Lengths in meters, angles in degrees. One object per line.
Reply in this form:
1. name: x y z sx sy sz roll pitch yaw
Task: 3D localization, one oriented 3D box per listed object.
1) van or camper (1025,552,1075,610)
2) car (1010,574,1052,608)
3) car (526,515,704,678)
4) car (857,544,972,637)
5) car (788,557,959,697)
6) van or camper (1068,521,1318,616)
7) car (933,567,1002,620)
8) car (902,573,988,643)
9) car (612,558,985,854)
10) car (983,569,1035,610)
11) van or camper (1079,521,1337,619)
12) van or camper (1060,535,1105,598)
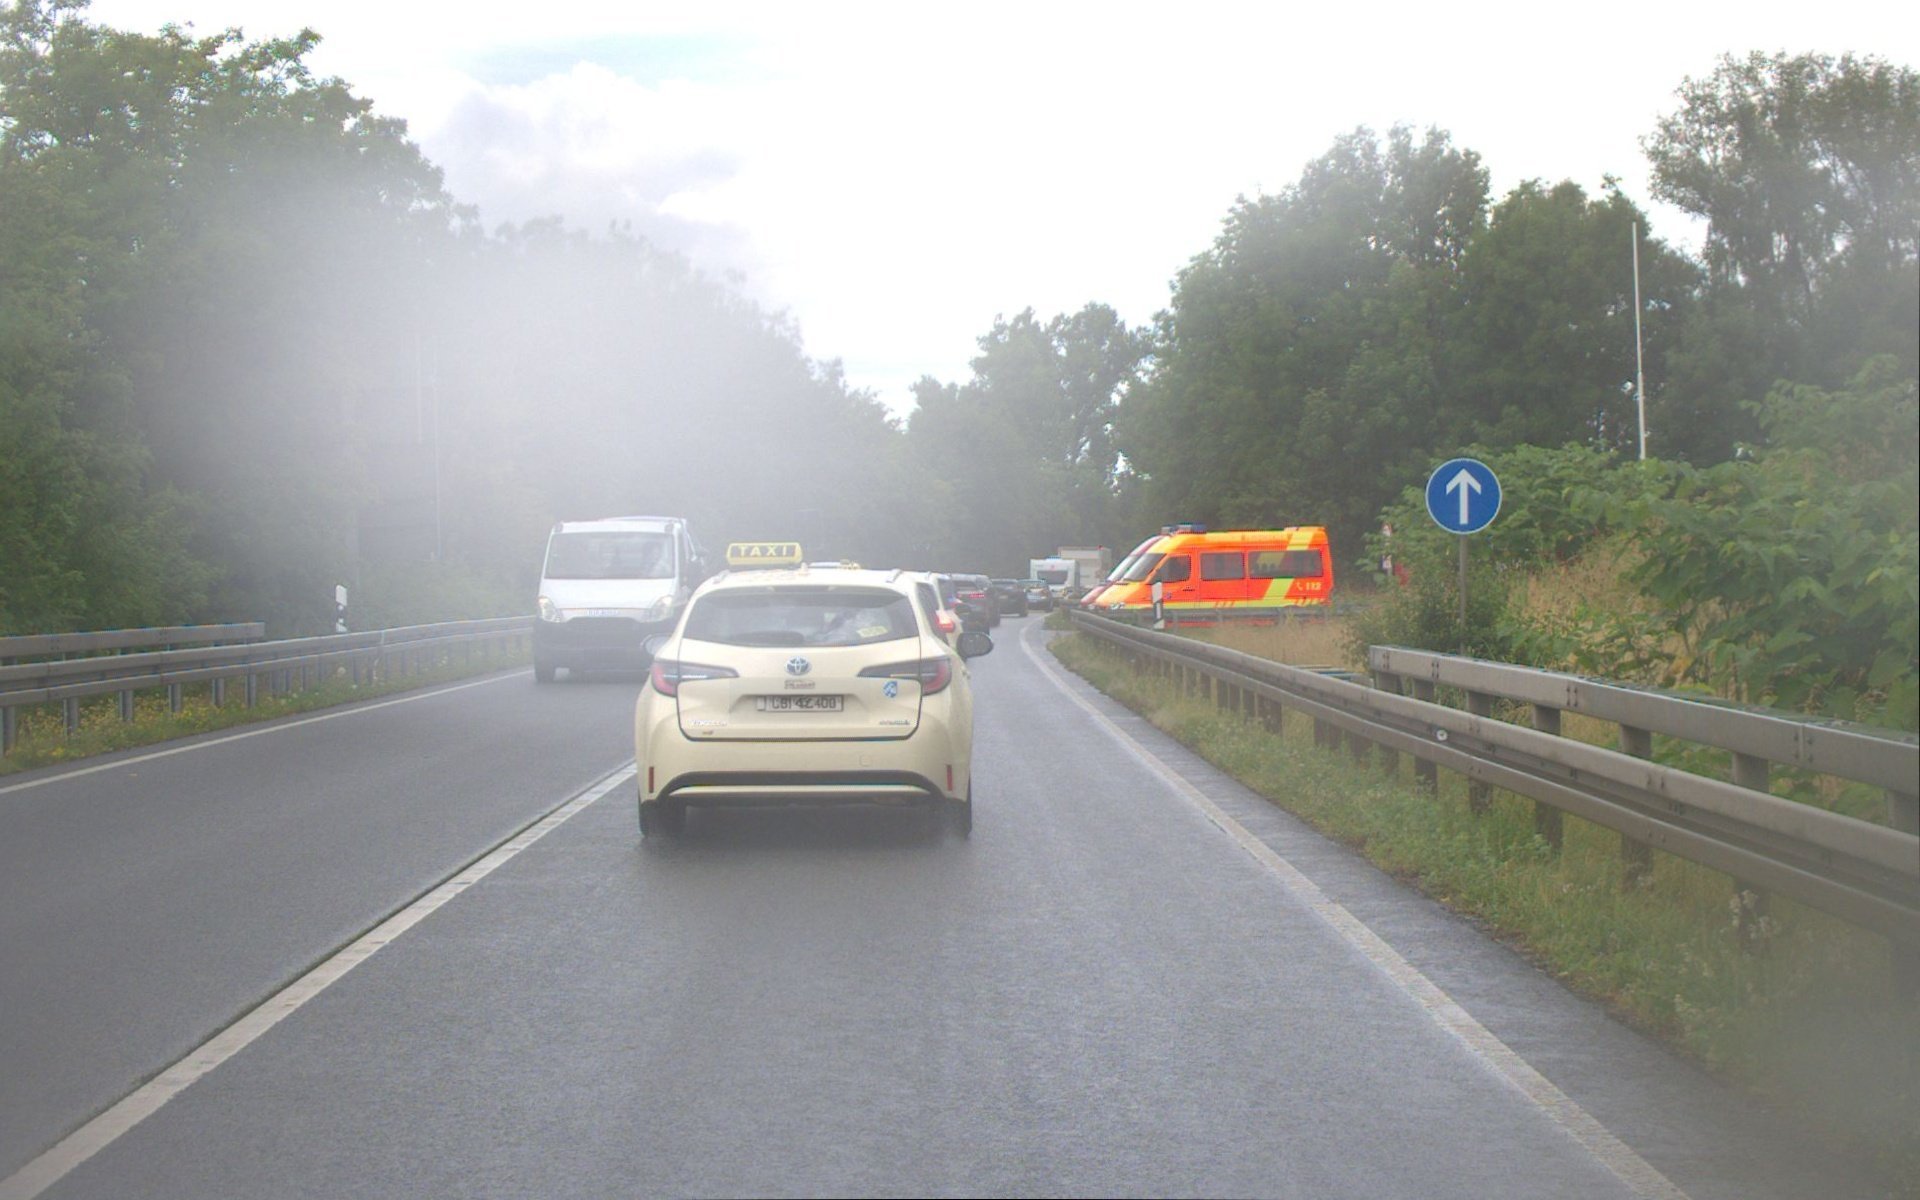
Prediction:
1. van or camper: 4.554 -0.984 174.765 2.332 2.854 6.307 0 1 0
2. car: 3.238 -0.416 155.869 1.854 1.438 4.171 0 1 2
3. car: -4.691 -0.104 47.409 1.993 2.121 4.895 0 1 0
4. car: -0.804 -0.194 57.894 1.854 1.438 4.171 0 2 -2
5. car: -1.010 0.268 39.578 1.854 1.438 4.171 0 2 -2
6. van or camper: 5.624 -0.762 83.131 5.676 2.234 2.021 0 1 -15
7. car: 0.192 -0.196 100.144 1.854 1.438 4.171 0 1 -2
8. car: -0.364 0.157 78.278 1.854 1.438 4.171 0 2 -2
9. car: -0.869 0.506 19.250 1.854 1.389 4.171 0 2 -2
10. car: 1.841 -0.417 127.804 1.854 1.438 4.171 0 1 2
11. van or camper: 5.830 -0.710 80.833 5.676 2.234 2.021 0 1 -15
12. van or camper: 7.099 -1.970 199.694 2.332 3.550 6.307 0 1 0
